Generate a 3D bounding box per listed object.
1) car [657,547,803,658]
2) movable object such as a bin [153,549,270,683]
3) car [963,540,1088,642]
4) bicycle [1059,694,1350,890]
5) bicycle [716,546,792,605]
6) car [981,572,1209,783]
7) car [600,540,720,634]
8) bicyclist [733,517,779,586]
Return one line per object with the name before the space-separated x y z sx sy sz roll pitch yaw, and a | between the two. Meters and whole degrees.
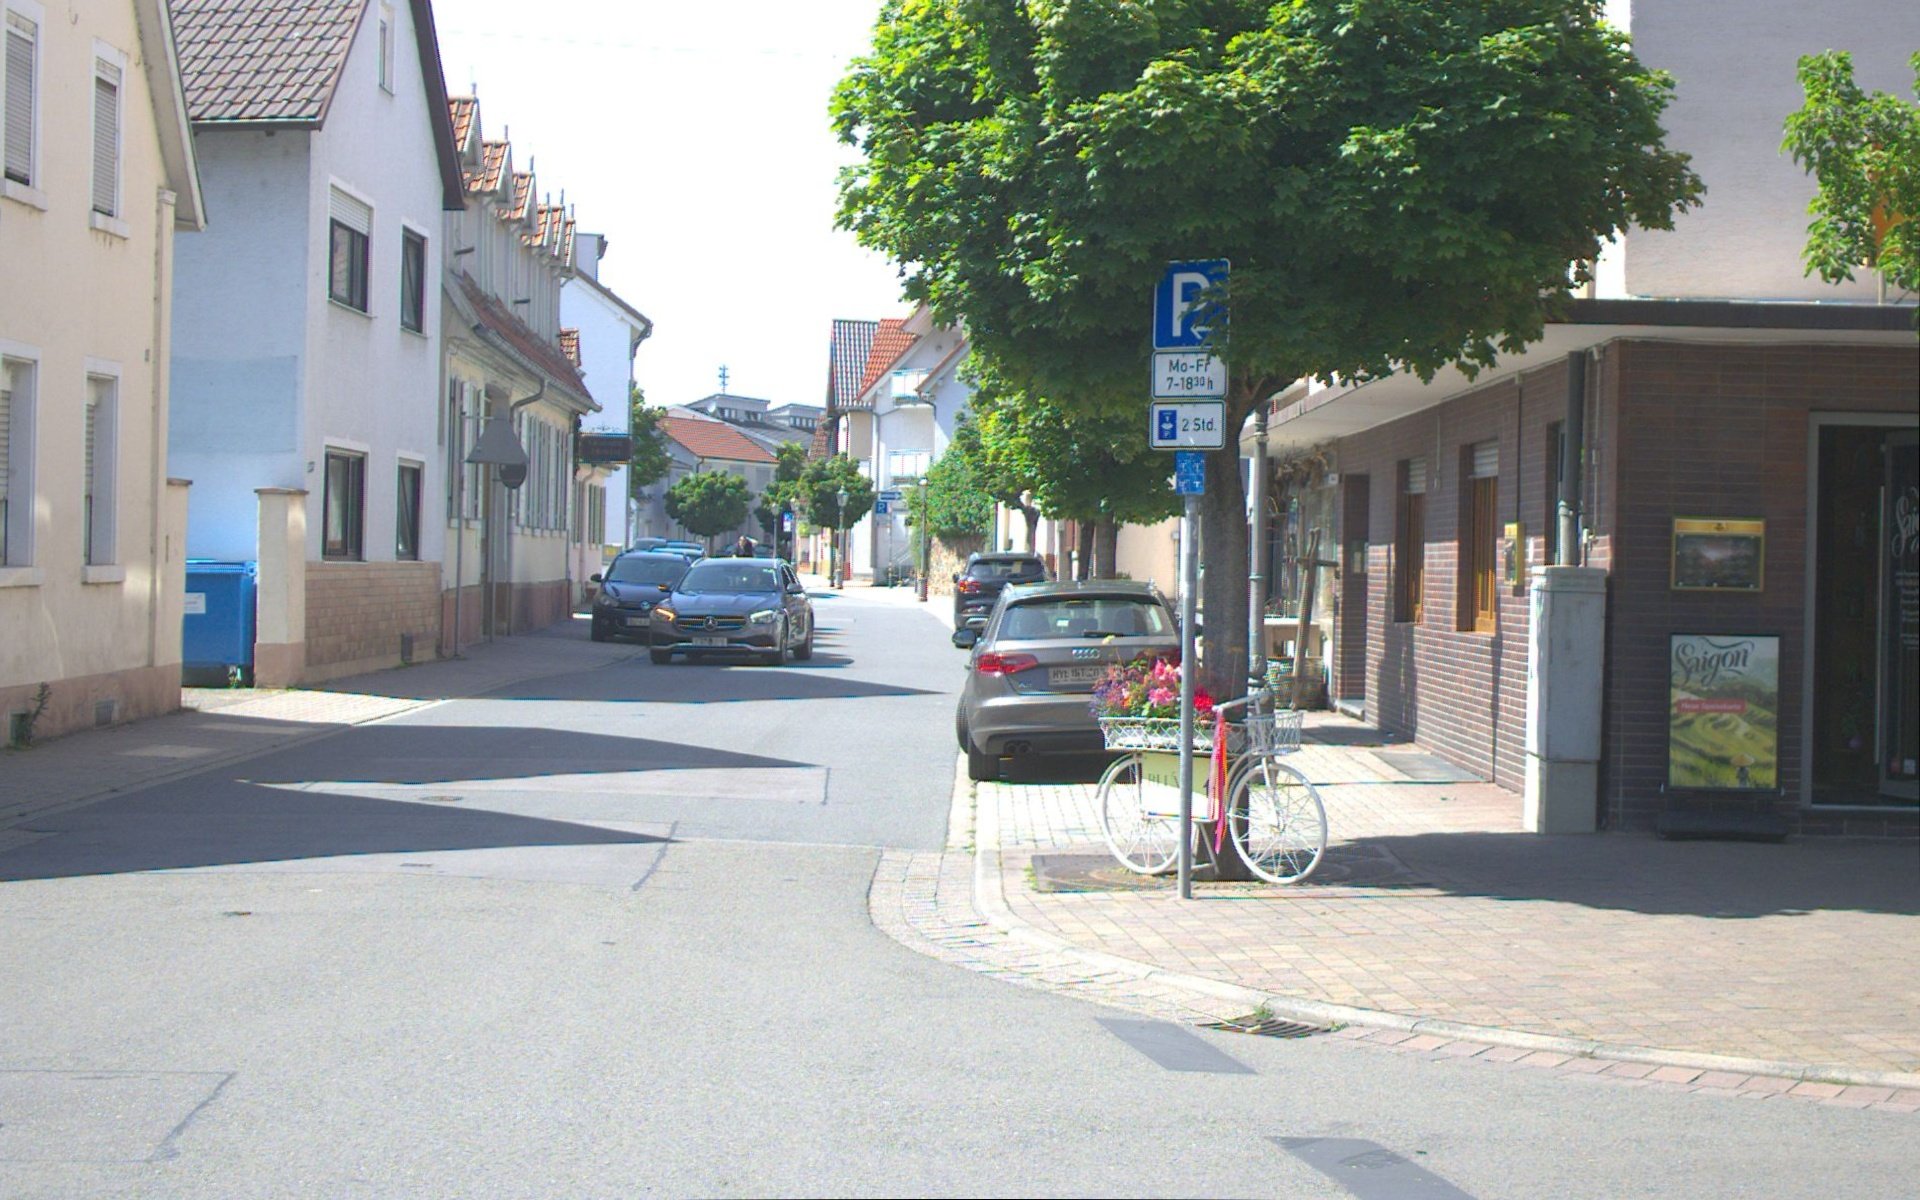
car | -3.215 0.076 48.911 1.909 1.476 4.844 1 -1 -2
movable object such as a bin | -7.710 0.161 35.420 1.102 1.361 0.390 1 1 4
car | 1.098 -0.181 59.646 2.043 1.683 4.842 1 1 0
bicycle | 1.211 0.940 17.159 1.412 0.894 0.464 0 1 37
bicycle | -4.958 -0.604 82.543 1.623 1.366 3.927 0 1 -6
car | 0.996 0.527 25.782 1.576 1.449 3.486 1 1 2
car | -4.919 -0.238 56.820 1.663 1.471 4.135 1 1 -1
bicyclist | -4.887 -1.155 82.407 1.046 1.632 1.129 0 1 -6
